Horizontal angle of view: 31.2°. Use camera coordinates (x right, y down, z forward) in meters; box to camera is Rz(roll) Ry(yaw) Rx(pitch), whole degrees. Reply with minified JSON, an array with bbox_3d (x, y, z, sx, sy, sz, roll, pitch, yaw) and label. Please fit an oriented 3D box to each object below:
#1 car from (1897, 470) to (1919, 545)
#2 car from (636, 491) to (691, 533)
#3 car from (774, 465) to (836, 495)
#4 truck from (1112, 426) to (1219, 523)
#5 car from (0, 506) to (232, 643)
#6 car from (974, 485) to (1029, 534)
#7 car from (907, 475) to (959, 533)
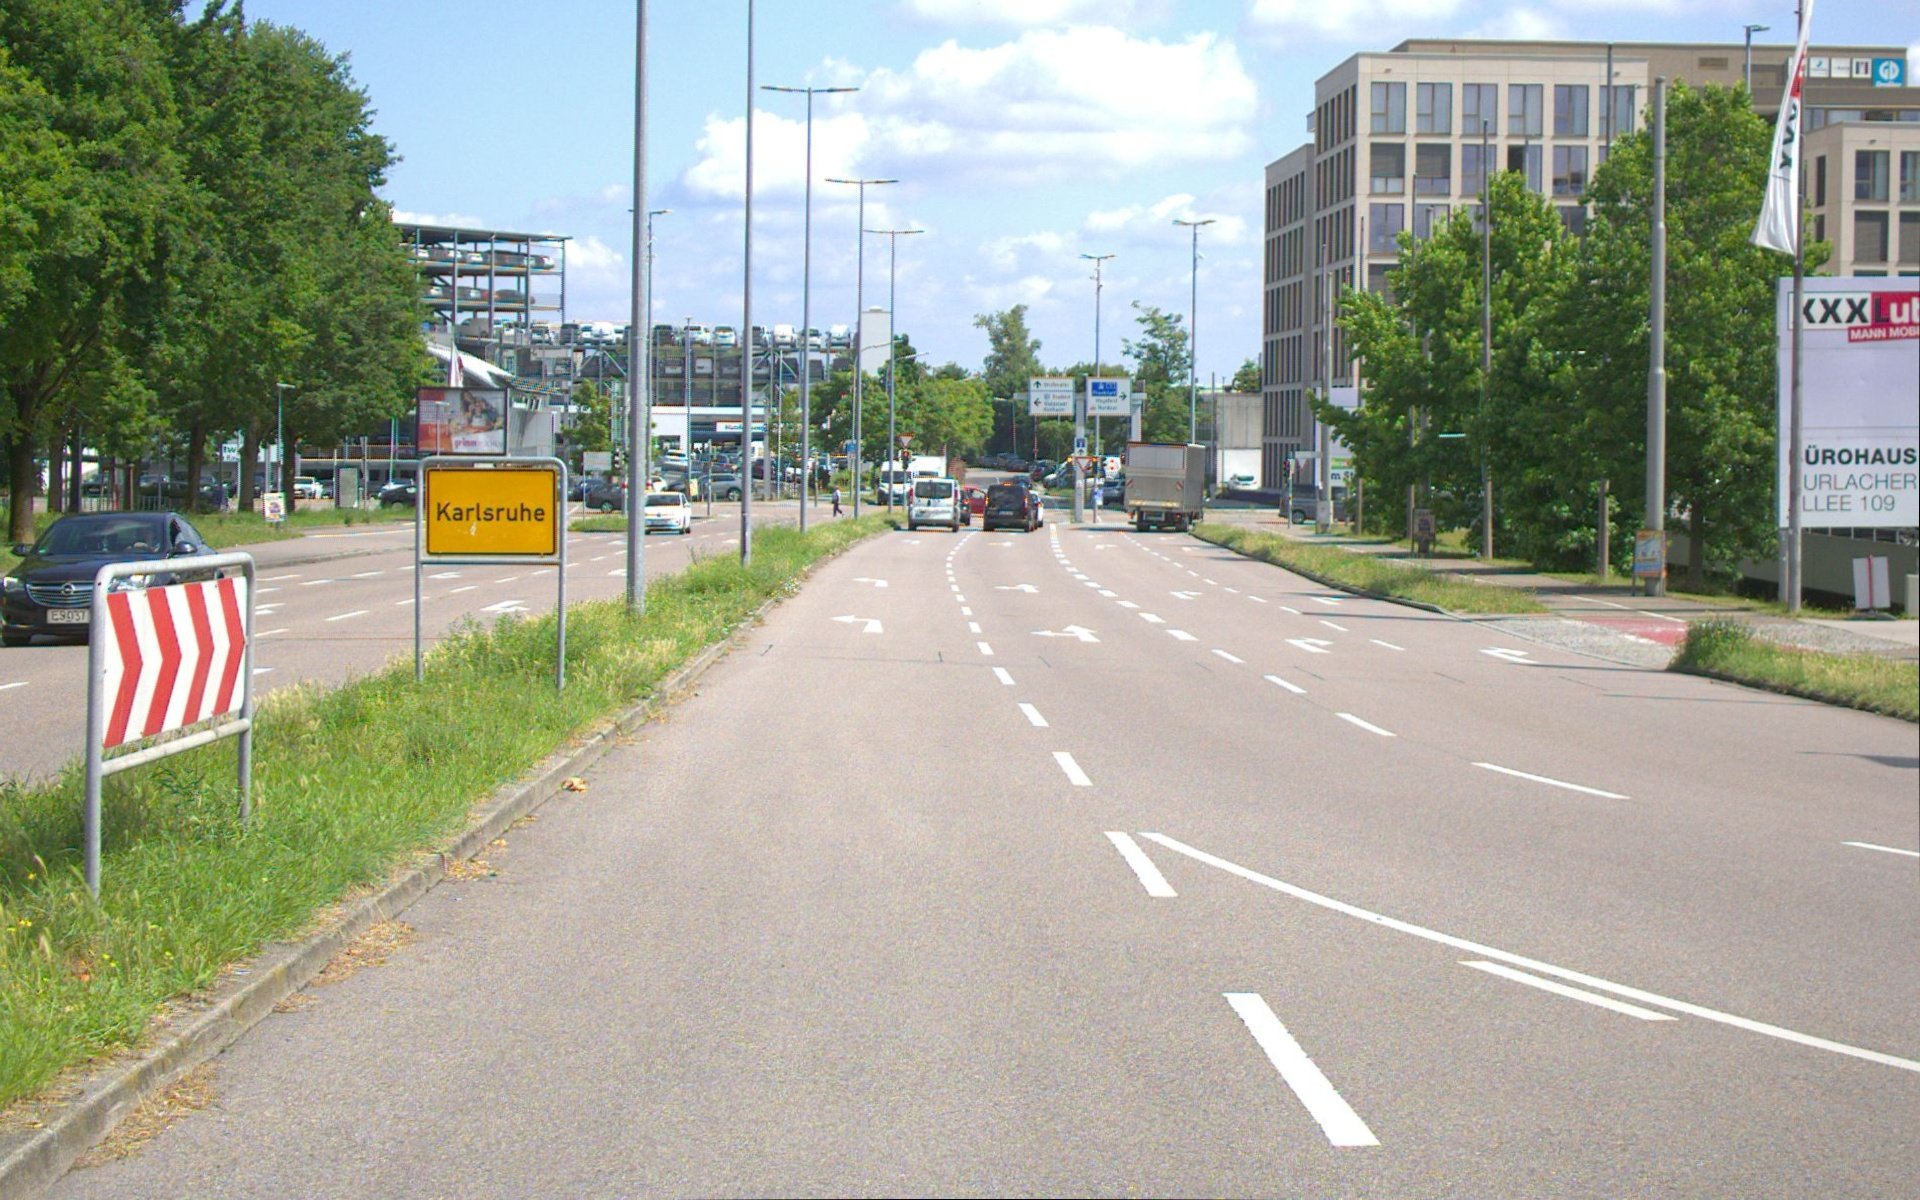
[{"bbox_3d":[32.572,-2.890,108.050,5.658,2.358,2.062,0,1,-2],"label":"car"},{"bbox_3d":[-10.296,-3.071,119.526,1.643,1.424,3.671,0,2,-1],"label":"car"},{"bbox_3d":[-10.281,-7.960,228.022,3.986,1.919,1.827,2,2,-5],"label":"car"},{"bbox_3d":[8.879,-5.408,147.539,3.131,3.926,8.854,2,3,12],"label":"truck"},{"bbox_3d":[-9.448,-0.326,38.601,1.663,1.416,4.519,-1,2,-1],"label":"car"},{"bbox_3d":[1.618,-3.538,133.434,1.820,1.802,4.000,2,2,4],"label":"car"},{"bbox_3d":[-1.018,-3.609,128.113,1.856,2.011,4.001,2,3,-1],"label":"car"}]
